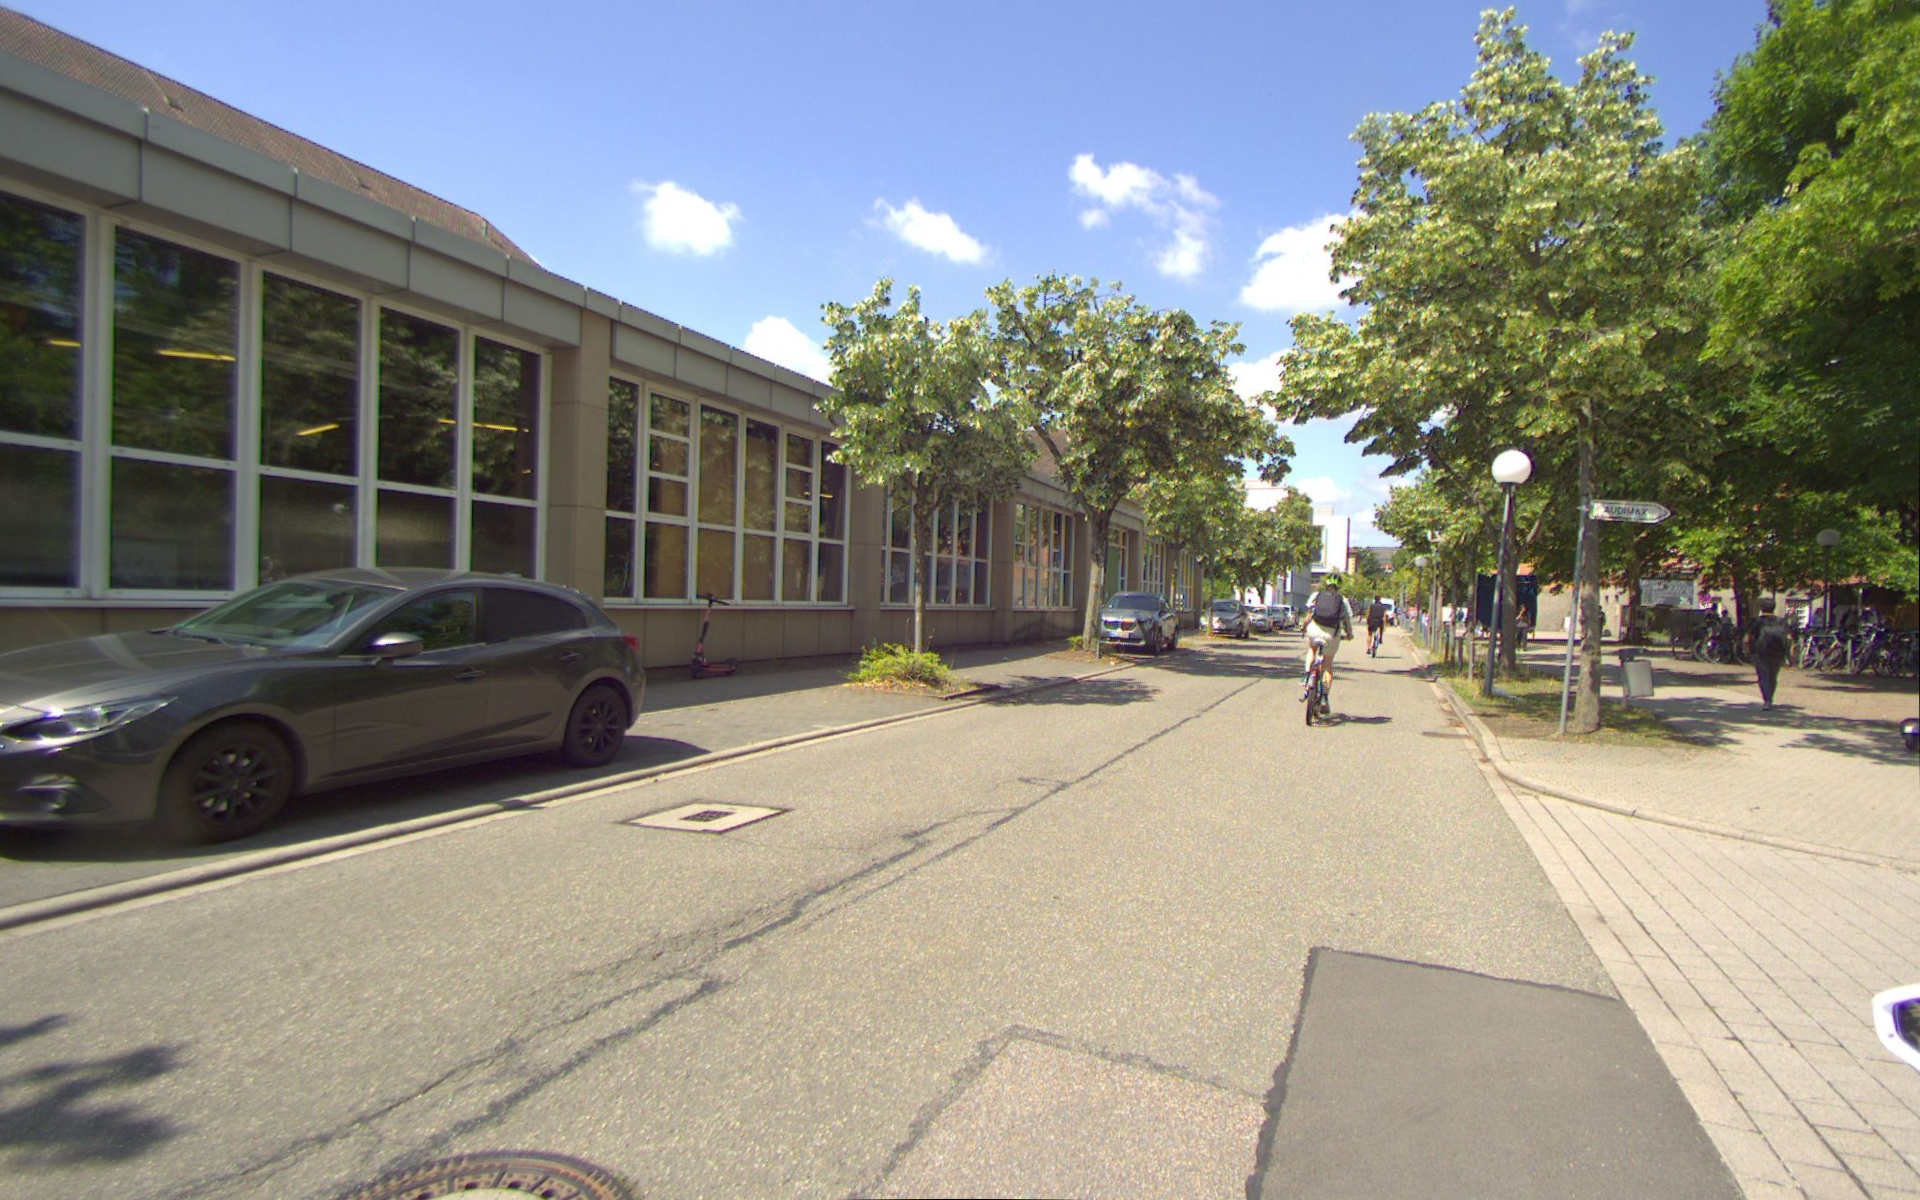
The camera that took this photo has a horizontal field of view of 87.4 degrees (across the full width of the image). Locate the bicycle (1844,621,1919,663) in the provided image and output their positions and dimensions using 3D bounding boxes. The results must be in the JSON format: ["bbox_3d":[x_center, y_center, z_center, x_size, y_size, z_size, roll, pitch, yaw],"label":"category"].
[{"bbox_3d":[25.939,1.180,28.260,1.825,1.098,0.473,2,2,-8],"label":"bicycle"}]

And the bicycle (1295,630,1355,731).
[{"bbox_3d":[4.622,0.974,12.793,0.593,1.123,2.073,1,0,17],"label":"bicycle"}]

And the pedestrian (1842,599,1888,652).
[{"bbox_3d":[32.313,0.896,35.882,0.754,1.826,0.907,2,2,6],"label":"pedestrian"}]

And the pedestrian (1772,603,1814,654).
[{"bbox_3d":[30.841,1.045,37.201,0.754,1.798,0.907,2,2,6],"label":"pedestrian"}]

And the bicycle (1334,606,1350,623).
[{"bbox_3d":[27.959,1.057,73.496,0.465,1.098,1.699,2,2,1],"label":"bicycle"}]

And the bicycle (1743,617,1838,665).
[{"bbox_3d":[20.918,1.022,25.310,1.991,1.123,0.502,2,2,-4],"label":"bicycle"}]

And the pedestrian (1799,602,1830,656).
[{"bbox_3d":[29.385,0.979,34.541,0.492,1.795,0.671,2,2,13],"label":"pedestrian"}]

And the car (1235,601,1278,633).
[{"bbox_3d":[15.703,0.875,53.106,1.802,1.562,4.538,2,0,21],"label":"car"}]

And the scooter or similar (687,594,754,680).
[{"bbox_3d":[-3.571,0.538,15.038,0.284,1.242,1.157,2,1,26],"label":"scooter or similar"}]

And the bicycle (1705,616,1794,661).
[{"bbox_3d":[20.986,1.020,26.710,1.991,1.123,0.502,2,2,-4],"label":"bicycle"}]

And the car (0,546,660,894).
[{"bbox_3d":[-4.060,0.489,6.663,1.621,1.496,4.209,4,2,23],"label":"car"}]

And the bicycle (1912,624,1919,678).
[{"bbox_3d":[21.078,1.095,20.969,1.991,1.123,0.502,2,2,-4],"label":"bicycle"}]

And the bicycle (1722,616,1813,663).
[{"bbox_3d":[20.934,1.023,26.050,1.991,1.123,0.502,2,2,-4],"label":"bicycle"}]

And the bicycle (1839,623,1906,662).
[{"bbox_3d":[27.623,1.287,30.411,1.668,1.098,0.473,2,2,-6],"label":"bicycle"}]

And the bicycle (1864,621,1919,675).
[{"bbox_3d":[21.110,1.062,22.122,1.991,1.123,0.502,2,2,-4],"label":"bicycle"}]

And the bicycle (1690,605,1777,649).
[{"bbox_3d":[20.950,0.733,27.225,1.991,1.123,0.502,2,2,-4],"label":"bicycle"}]

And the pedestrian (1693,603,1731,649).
[{"bbox_3d":[30.803,1.054,41.155,0.901,1.798,0.786,2,2,6],"label":"pedestrian"}]

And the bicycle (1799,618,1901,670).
[{"bbox_3d":[20.868,1.024,23.563,1.991,1.123,0.502,2,2,-4],"label":"bicycle"}]

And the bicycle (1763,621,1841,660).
[{"bbox_3d":[25.648,1.222,30.607,1.821,1.098,0.474,2,2,6],"label":"bicycle"}]

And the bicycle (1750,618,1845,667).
[{"bbox_3d":[20.849,1.055,25.021,1.991,1.123,0.502,2,2,-4],"label":"bicycle"}]

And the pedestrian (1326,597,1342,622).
[{"bbox_3d":[27.295,0.699,73.336,0.755,1.798,0.907,2,2,0],"label":"pedestrian"}]

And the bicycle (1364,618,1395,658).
[{"bbox_3d":[12.471,1.116,29.917,0.657,1.123,2.073,1,0,18],"label":"bicycle"}]

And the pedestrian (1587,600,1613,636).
[{"bbox_3d":[32.793,0.896,51.491,0.754,1.798,0.907,2,2,6],"label":"pedestrian"}]

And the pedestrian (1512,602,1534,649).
[{"bbox_3d":[19.073,0.845,34.041,0.561,1.540,0.838,3,2,32],"label":"pedestrian"}]

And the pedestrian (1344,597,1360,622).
[{"bbox_3d":[28.598,0.690,73.312,0.755,1.798,0.907,2,2,0],"label":"pedestrian"}]

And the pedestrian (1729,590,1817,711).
[{"bbox_3d":[11.962,0.718,14.808,0.714,1.706,0.874,2,1,20],"label":"pedestrian"}]

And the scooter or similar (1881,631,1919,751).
[{"bbox_3d":[10.138,0.936,10.594,1.172,1.211,0.290,1,1,-32],"label":"scooter or similar"}]

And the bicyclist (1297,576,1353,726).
[{"bbox_3d":[4.630,0.628,12.776,0.593,1.826,0.899,1,0,17],"label":"bicyclist"}]

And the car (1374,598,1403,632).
[{"bbox_3d":[41.187,1.433,96.606,2.225,3.054,5.737,3,0,22],"label":"car"}]

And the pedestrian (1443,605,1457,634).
[{"bbox_3d":[26.883,1.050,55.104,0.610,1.540,0.735,2,2,26],"label":"pedestrian"}]

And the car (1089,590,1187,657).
[{"bbox_3d":[5.112,0.608,28.370,1.802,1.639,4.537,4,1,21],"label":"car"}]

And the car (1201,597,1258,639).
[{"bbox_3d":[11.505,0.733,42.712,1.802,1.655,4.538,2,0,21],"label":"car"}]

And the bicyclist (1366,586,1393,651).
[{"bbox_3d":[12.488,0.547,29.908,0.657,1.900,0.827,1,0,18],"label":"bicyclist"}]

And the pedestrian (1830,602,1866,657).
[{"bbox_3d":[30.181,0.996,34.147,0.597,1.798,0.659,2,2,16],"label":"pedestrian"}]

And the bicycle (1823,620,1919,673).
[{"bbox_3d":[20.903,1.052,22.933,1.991,1.123,0.502,2,2,-4],"label":"bicycle"}]

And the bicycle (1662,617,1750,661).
[{"bbox_3d":[21.078,1.103,28.407,1.989,1.123,0.503,2,2,4],"label":"bicycle"}]

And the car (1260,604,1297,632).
[{"bbox_3d":[19.418,1.047,61.096,1.802,1.562,4.538,2,0,21],"label":"car"}]

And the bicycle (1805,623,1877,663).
[{"bbox_3d":[25.857,1.259,29.478,1.825,1.098,0.473,2,2,-8],"label":"bicycle"}]
